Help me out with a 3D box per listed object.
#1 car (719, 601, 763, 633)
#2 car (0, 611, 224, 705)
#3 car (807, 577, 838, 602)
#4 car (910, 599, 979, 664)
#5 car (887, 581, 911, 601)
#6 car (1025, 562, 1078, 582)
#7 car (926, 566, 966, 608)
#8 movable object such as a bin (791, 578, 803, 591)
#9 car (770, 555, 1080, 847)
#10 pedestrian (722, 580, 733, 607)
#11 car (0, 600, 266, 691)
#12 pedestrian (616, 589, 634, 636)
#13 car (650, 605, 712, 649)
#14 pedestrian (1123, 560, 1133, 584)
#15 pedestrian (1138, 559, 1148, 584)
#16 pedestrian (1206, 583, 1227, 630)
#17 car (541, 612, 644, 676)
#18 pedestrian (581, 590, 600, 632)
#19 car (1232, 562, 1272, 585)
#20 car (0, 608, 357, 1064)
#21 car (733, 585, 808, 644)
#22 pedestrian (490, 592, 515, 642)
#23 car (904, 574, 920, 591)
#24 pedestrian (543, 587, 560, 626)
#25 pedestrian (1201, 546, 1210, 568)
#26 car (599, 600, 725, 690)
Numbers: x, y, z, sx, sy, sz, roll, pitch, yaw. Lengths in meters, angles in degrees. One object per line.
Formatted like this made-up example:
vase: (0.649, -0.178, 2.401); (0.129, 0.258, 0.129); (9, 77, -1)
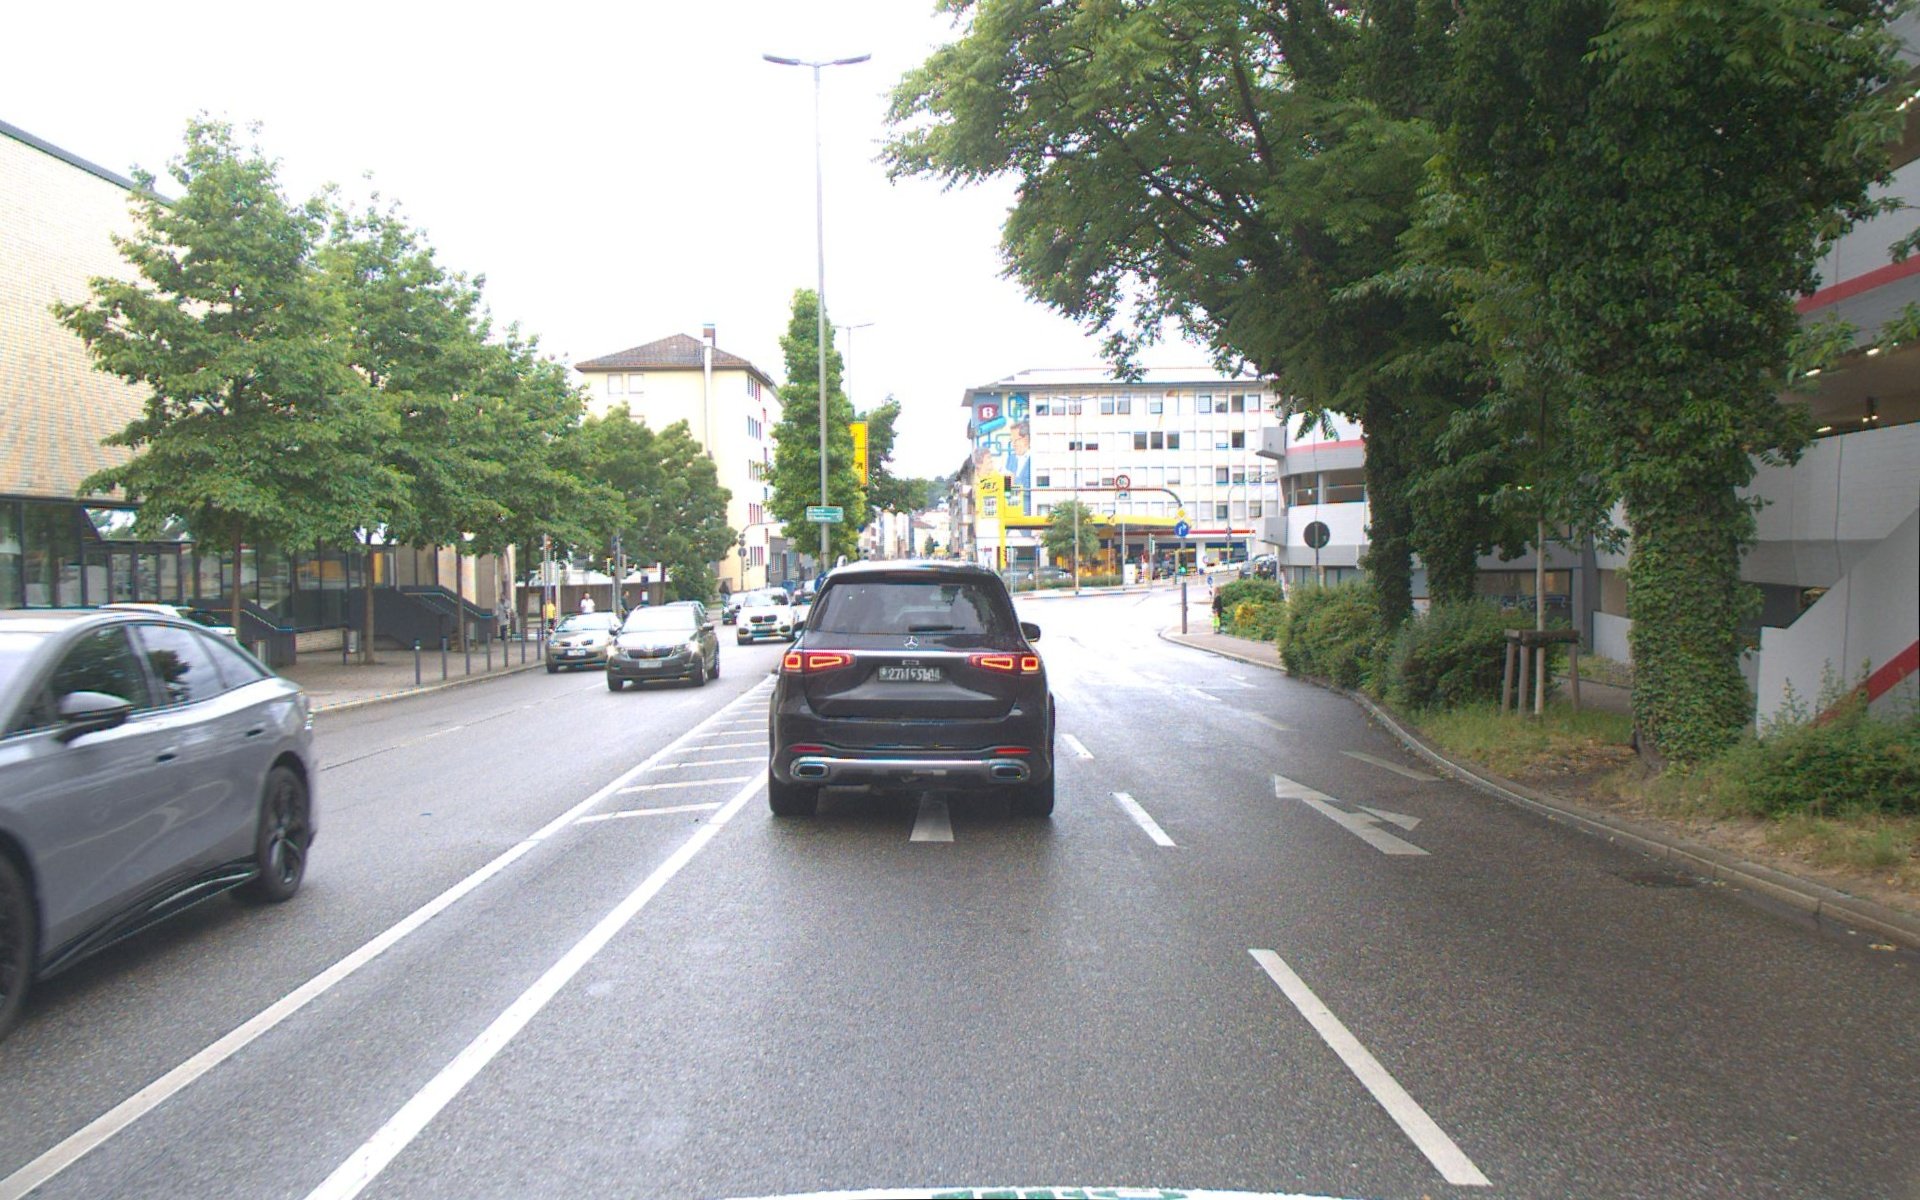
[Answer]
car: (-10.404, 0.791, 78.808); (1.698, 1.418, 4.197); (-3, 0, -3)
car: (-15.179, 0.975, 28.495); (4.097, 1.521, 1.997); (1, -1, -8)
car: (-9.640, -0.728, 116.141); (1.851, 1.614, 4.535); (-3, 0, -2)
car: (-0.477, 0.929, 49.693); (1.953, 1.832, 3.999); (1, -1, -1)
car: (-5.165, -0.746, 139.639); (1.954, 1.642, 4.187); (1, -1, -3)
car: (6.905, -2.097, 125.049); (1.724, 1.400, 3.935); (-2, 1, -44)
car: (-0.746, -0.647, 84.315); (1.953, 2.049, 3.999); (1, -1, -1)
movable object such as a bin: (-13.518, -1.260, 137.244); (0.891, 1.056, 0.844); (1, -1, 0)
car: (-0.248, 0.667, 12.575); (1.953, 1.832, 3.999); (1, -1, -1)
pedestrian: (-15.317, -0.415, 109.079); (0.635, 1.757, 0.628); (-2, 1, -5)
car: (-15.489, 0.836, 30.990); (4.090, 1.574, 2.000); (1, -1, 0)
pedestrian: (-12.947, 0.461, 63.915); (0.675, 1.788, 0.716); (-1, 1, -12)
car: (-10.171, 0.958, 60.520); (1.710, 1.437, 3.969); (-3, 0, -3)
pedestrian: (12.024, -2.004, 118.373); (0.516, 1.757, 0.688); (-1, 1, 29)
pedestrian: (12.945, -2.012, 116.989); (0.560, 1.727, 0.631); (1, -1, 0)
pedestrian: (9.587, 0.256, 61.907); (0.634, 1.740, 0.470); (0, -1, 35)
car: (-9.269, 1.069, 42.004); (1.793, 1.412, 4.227); (-3, 0, -3)
pedestrian: (-14.844, 0.436, 66.473); (0.676, 1.685, 0.612); (-2, 1, -8)
car: (21.086, -1.913, 119.277); (1.761, 1.552, 4.051); (1, 1, 27)
car: (-4.247, 0.835, 7.042); (1.846, 1.524, 4.559); (-2, 0, -3)
car: (-6.427, 0.455, 56.559); (1.852, 1.843, 4.575); (-3, 0, 2)
pedestrian: (-15.566, 0.571, 56.323); (0.630, 1.695, 1.017); (1, -1, -7)
car: (-6.072, -2.183, 209.083); (1.953, 2.049, 4.000); (1, -1, 0)
pedestrian: (-16.435, 0.250, 66.611); (0.429, 1.560, 0.546); (-1, 1, 13)
pedestrian: (19.820, -3.501, 133.308); (0.515, 1.757, 0.688); (-1, 1, 26)
car: (-5.575, 0.809, 31.431); (1.776, 1.488, 4.285); (-3, 0, -3)
